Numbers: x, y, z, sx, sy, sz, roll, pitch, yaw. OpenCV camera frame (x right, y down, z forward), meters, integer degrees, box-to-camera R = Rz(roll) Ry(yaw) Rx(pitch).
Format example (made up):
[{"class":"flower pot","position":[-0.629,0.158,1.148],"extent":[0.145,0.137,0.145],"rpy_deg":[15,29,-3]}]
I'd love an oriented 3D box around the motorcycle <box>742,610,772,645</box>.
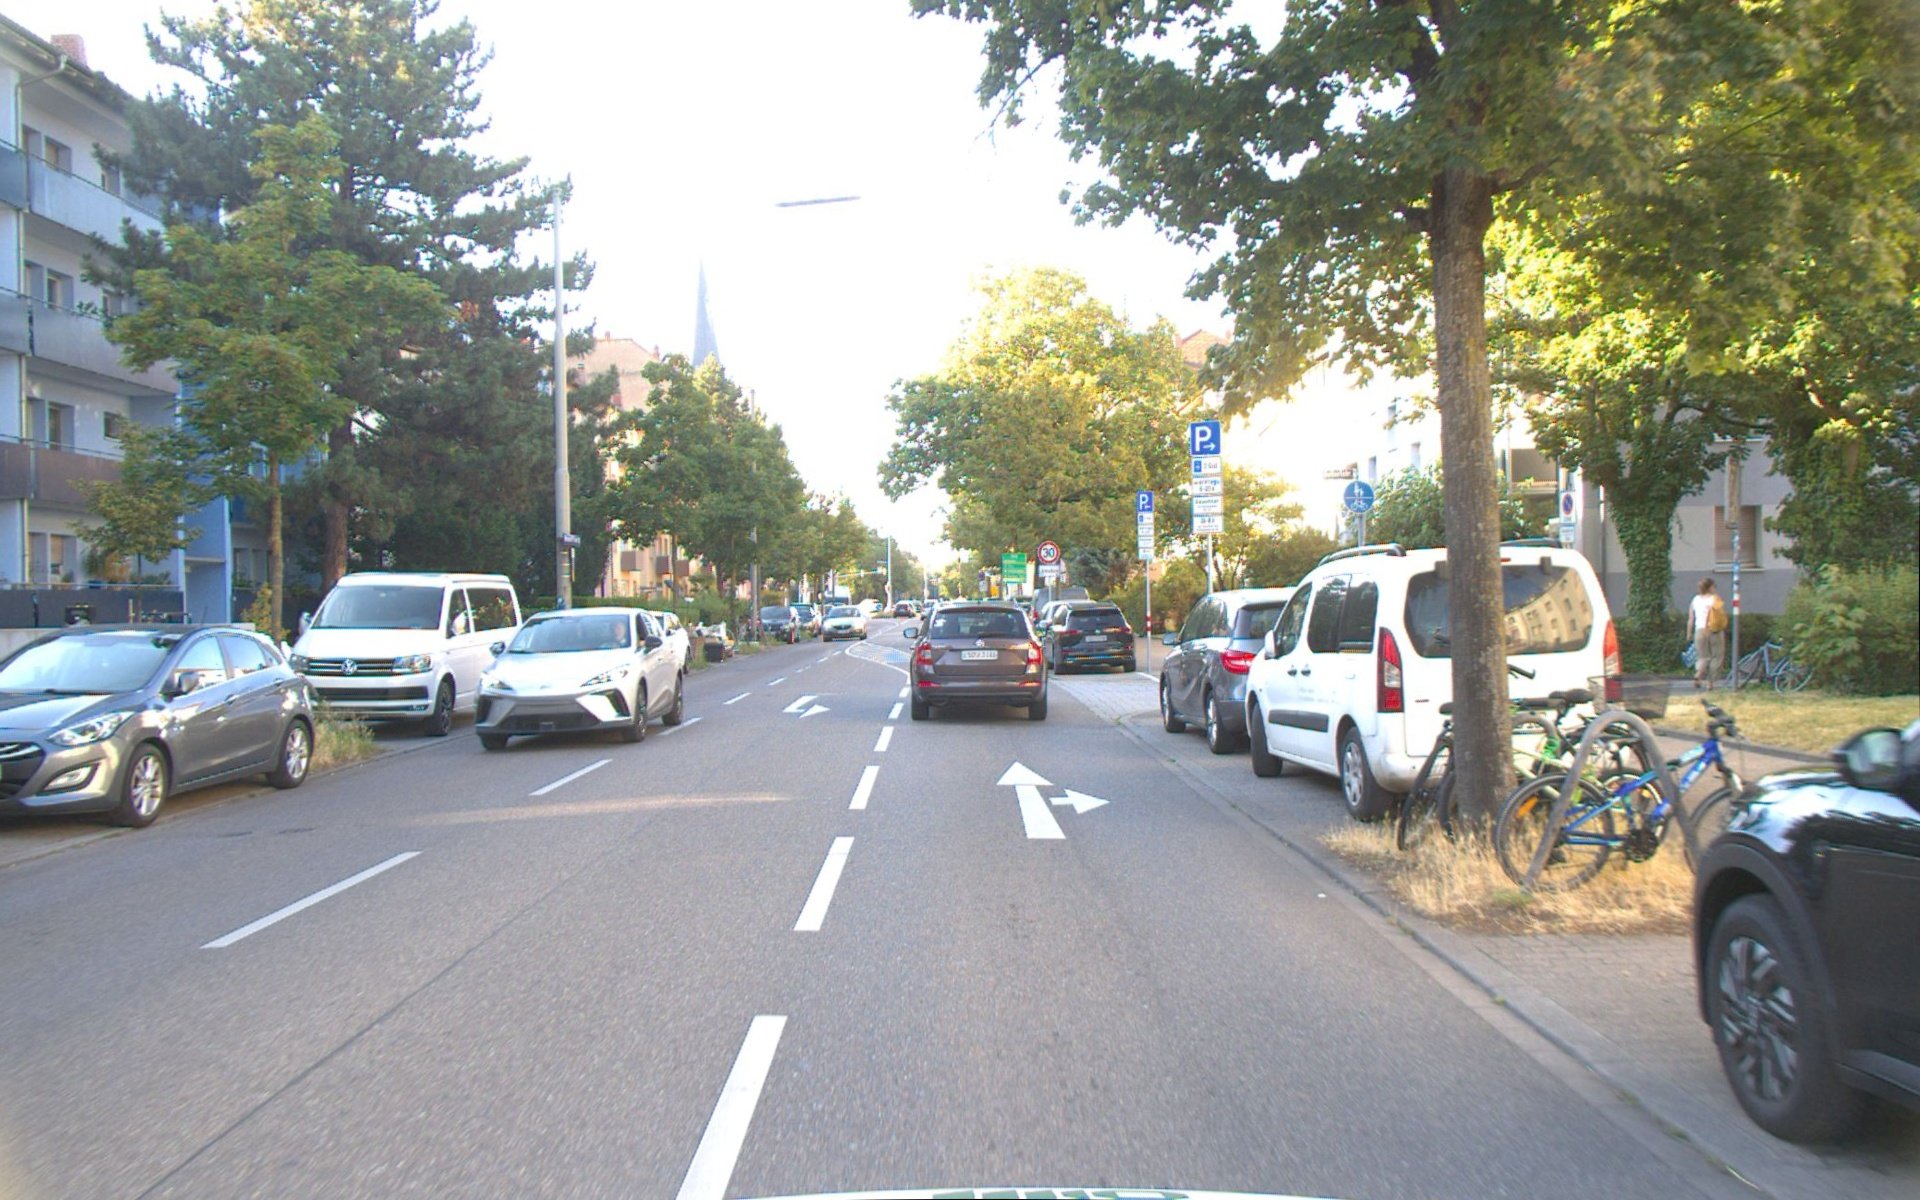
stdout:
[{"class":"motorcycle","position":[-7.332,0.990,59.853],"extent":[0.724,1.225,2.142],"rpy_deg":[0,0,2]}]

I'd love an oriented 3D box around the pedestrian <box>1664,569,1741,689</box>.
[{"class":"pedestrian","position":[11.211,0.432,24.984],"extent":[0.738,1.751,0.789],"rpy_deg":[-2,0,-42]}]

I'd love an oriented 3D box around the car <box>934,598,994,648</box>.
[{"class":"car","position":[0.103,0.766,55.013],"extent":[1.853,1.533,3.788],"rpy_deg":[2,-1,-1]}]

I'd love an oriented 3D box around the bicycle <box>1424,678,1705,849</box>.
[{"class":"bicycle","position":[3.505,0.933,9.612],"extent":[1.524,0.884,0.392],"rpy_deg":[-2,0,-10]}]

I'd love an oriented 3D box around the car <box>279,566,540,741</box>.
[{"class":"car","position":[-7.236,0.636,22.377],"extent":[1.831,2.067,5.299],"rpy_deg":[-1,0,-1]}]

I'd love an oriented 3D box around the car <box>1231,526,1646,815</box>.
[{"class":"car","position":[3.429,0.445,12.781],"extent":[1.764,1.840,4.421],"rpy_deg":[0,0,-3]}]

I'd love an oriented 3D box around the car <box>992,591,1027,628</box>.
[{"class":"car","position":[2.464,0.455,83.437],"extent":[1.718,1.837,4.001],"rpy_deg":[0,0,1]}]

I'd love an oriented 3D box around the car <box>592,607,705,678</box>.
[{"class":"car","position":[-7.077,0.924,37.955],"extent":[1.744,1.521,3.972],"rpy_deg":[0,0,2]}]

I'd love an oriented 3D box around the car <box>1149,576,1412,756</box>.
[{"class":"car","position":[3.234,0.611,17.535],"extent":[1.719,1.584,4.250],"rpy_deg":[-3,0,-3]}]

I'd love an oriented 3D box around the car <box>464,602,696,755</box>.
[{"class":"car","position":[-4.339,0.838,19.497],"extent":[1.744,1.520,3.971],"rpy_deg":[-3,0,0]}]

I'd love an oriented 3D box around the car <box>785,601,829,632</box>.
[{"class":"car","position":[-7.766,0.825,84.026],"extent":[1.744,1.506,3.972],"rpy_deg":[0,0,2]}]

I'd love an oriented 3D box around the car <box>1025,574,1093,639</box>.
[{"class":"car","position":[3.072,0.186,52.042],"extent":[1.877,1.893,5.633],"rpy_deg":[-1,0,1]}]

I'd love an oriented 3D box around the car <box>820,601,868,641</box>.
[{"class":"car","position":[-4.890,0.857,70.161],"extent":[1.704,1.505,4.308],"rpy_deg":[-4,0,-1]}]

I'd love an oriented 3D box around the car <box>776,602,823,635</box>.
[{"class":"car","position":[-7.573,0.877,78.330],"extent":[1.744,1.506,3.972],"rpy_deg":[0,0,2]}]

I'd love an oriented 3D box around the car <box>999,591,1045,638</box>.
[{"class":"car","position":[2.371,0.550,63.977],"extent":[1.718,1.745,4.001],"rpy_deg":[0,0,1]}]

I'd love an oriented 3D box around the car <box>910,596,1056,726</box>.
[{"class":"car","position":[0.307,0.714,21.494],"extent":[1.718,1.518,4.001],"rpy_deg":[0,0,1]}]

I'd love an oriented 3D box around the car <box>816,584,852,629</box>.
[{"class":"car","position":[-8.129,0.384,107.059],"extent":[1.951,2.830,5.502],"rpy_deg":[0,0,-1]}]

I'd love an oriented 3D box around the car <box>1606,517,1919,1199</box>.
[{"class":"car","position":[3.087,0.617,3.592],"extent":[1.718,1.691,4.253],"rpy_deg":[-2,0,1]}]

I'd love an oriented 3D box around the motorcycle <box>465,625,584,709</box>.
[{"class":"motorcycle","position":[-7.154,1.085,27.321],"extent":[0.645,1.225,2.332],"rpy_deg":[-2,0,20]}]

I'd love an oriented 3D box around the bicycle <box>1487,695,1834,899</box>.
[{"class":"bicycle","position":[3.379,0.939,8.014],"extent":[1.521,0.884,0.393],"rpy_deg":[-2,0,-4]}]

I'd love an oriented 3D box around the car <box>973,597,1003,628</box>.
[{"class":"car","position":[1.677,0.736,100.455],"extent":[1.718,1.837,4.000],"rpy_deg":[0,0,0]}]

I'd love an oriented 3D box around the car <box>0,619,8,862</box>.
[{"class":"car","position":[-7.098,0.938,8.578],"extent":[1.637,1.570,4.474],"rpy_deg":[-2,0,1]}]

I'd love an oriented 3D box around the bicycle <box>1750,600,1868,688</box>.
[{"class":"bicycle","position":[9.887,0.493,19.313],"extent":[0.465,0.961,1.680],"rpy_deg":[-2,0,-1]}]

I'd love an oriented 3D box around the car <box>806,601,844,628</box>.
[{"class":"car","position":[-7.683,0.806,94.498],"extent":[1.744,1.506,3.972],"rpy_deg":[0,0,2]}]

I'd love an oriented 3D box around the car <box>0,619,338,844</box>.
[{"class":"car","position":[-6.822,0.957,13.671],"extent":[1.657,1.509,4.144],"rpy_deg":[-1,0,2]}]

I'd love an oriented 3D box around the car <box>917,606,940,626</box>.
[{"class":"car","position":[-2.549,1.263,132.932],"extent":[1.745,1.506,3.968],"rpy_deg":[0,0,-4]}]

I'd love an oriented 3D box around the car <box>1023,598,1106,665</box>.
[{"class":"car","position":[2.580,0.754,41.628],"extent":[1.719,1.584,4.103],"rpy_deg":[0,0,-2]}]

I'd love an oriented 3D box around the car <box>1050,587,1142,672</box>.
[{"class":"car","position":[2.873,0.599,35.672],"extent":[1.718,1.716,4.253],"rpy_deg":[0,0,1]}]

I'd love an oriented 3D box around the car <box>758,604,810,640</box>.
[{"class":"car","position":[-7.619,0.941,71.890],"extent":[1.744,1.506,3.972],"rpy_deg":[0,0,2]}]

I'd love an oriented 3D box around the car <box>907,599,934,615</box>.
[{"class":"car","position":[-4.390,0.782,183.313],"extent":[1.963,1.780,3.979],"rpy_deg":[-1,0,-18]}]

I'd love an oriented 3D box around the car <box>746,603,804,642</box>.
[{"class":"car","position":[-7.328,0.879,65.814],"extent":[1.744,1.506,4.034],"rpy_deg":[0,0,2]}]

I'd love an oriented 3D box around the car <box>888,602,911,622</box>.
[{"class":"car","position":[-5.909,1.149,160.487],"extent":[1.955,1.780,3.995],"rpy_deg":[-1,0,-6]}]
